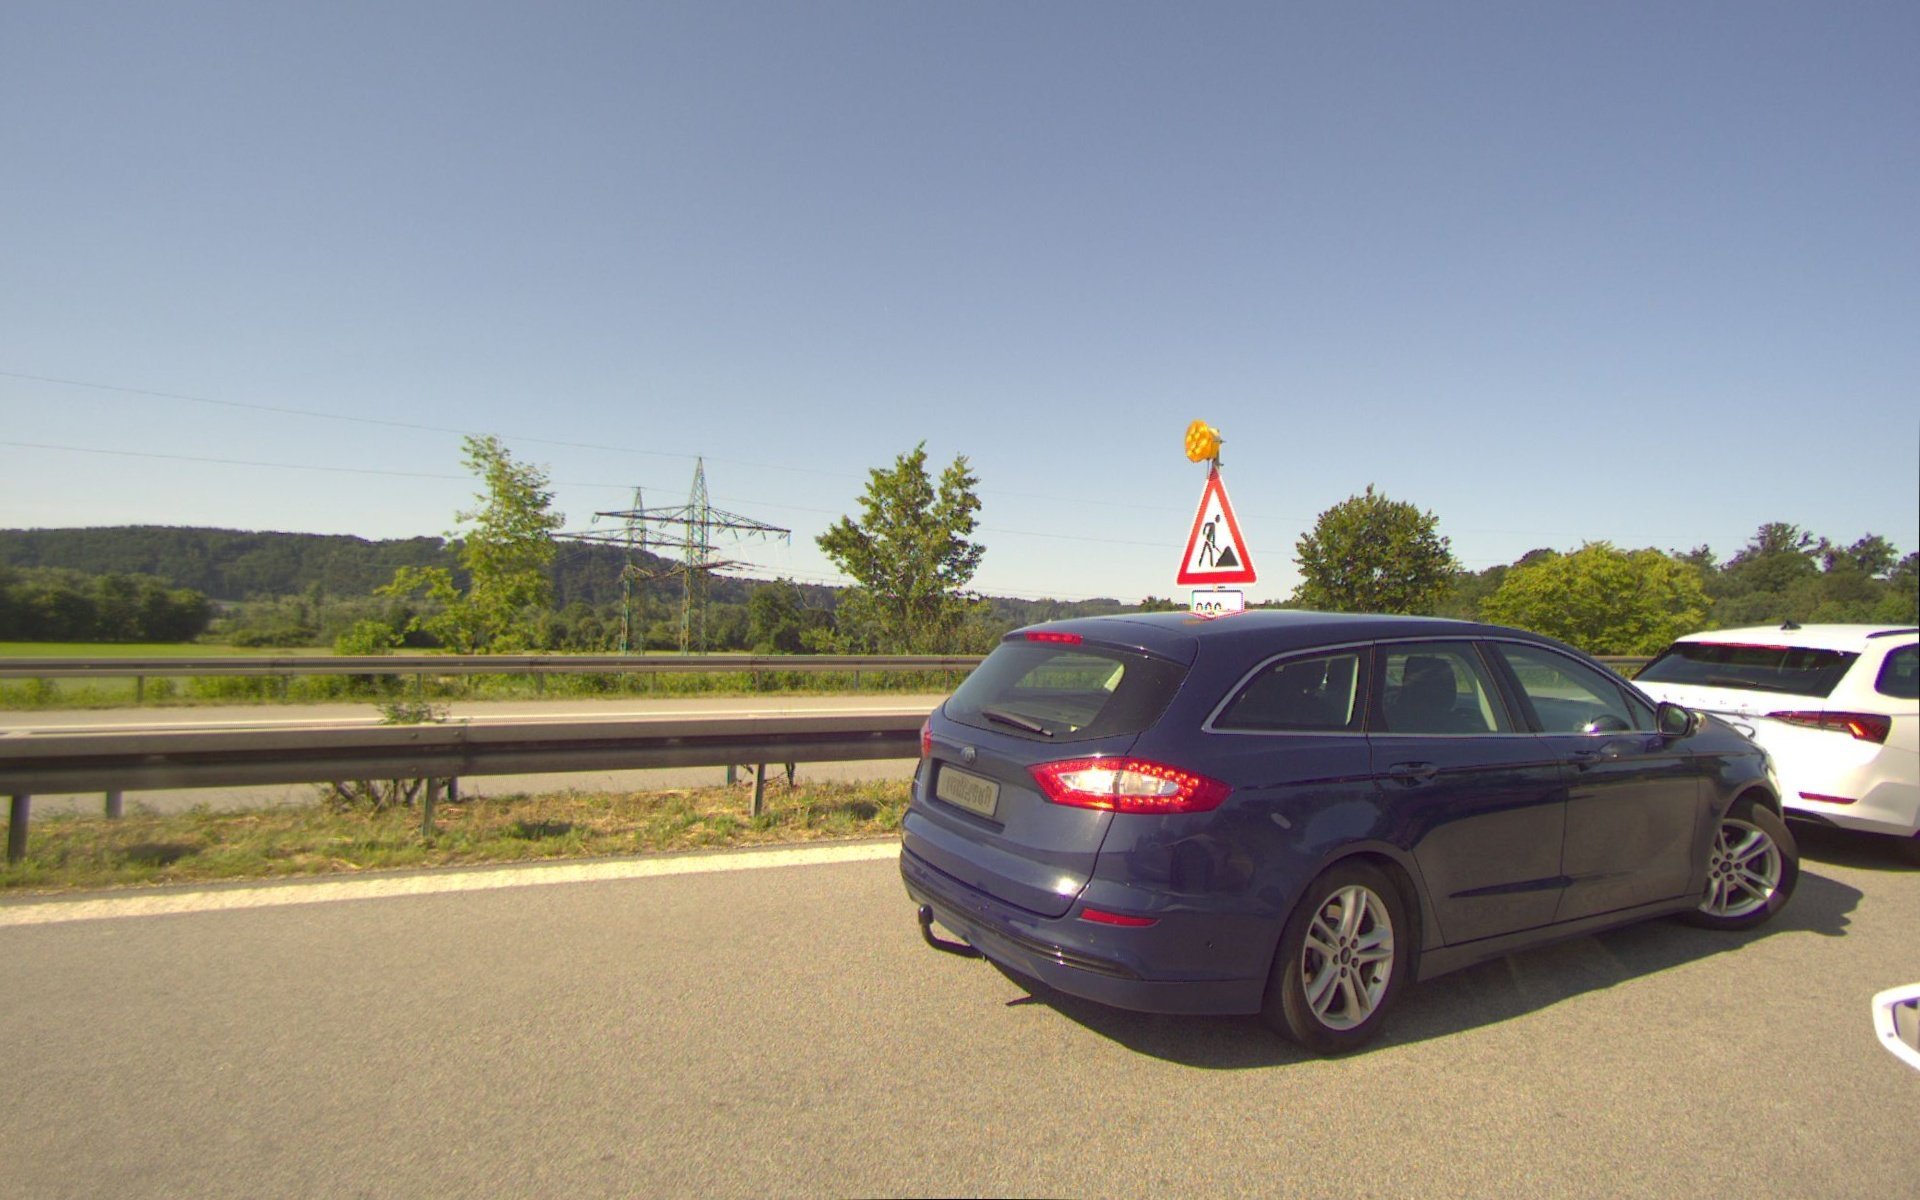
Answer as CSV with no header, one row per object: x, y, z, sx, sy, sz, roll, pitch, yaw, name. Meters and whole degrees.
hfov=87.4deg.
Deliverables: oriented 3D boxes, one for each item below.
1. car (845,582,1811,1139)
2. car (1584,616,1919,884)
1.868,0.772,4.637,4.440,1.513,1.780,2,-1,-30,car
6.706,0.891,7.145,4.147,1.461,1.692,1,0,-21,car
